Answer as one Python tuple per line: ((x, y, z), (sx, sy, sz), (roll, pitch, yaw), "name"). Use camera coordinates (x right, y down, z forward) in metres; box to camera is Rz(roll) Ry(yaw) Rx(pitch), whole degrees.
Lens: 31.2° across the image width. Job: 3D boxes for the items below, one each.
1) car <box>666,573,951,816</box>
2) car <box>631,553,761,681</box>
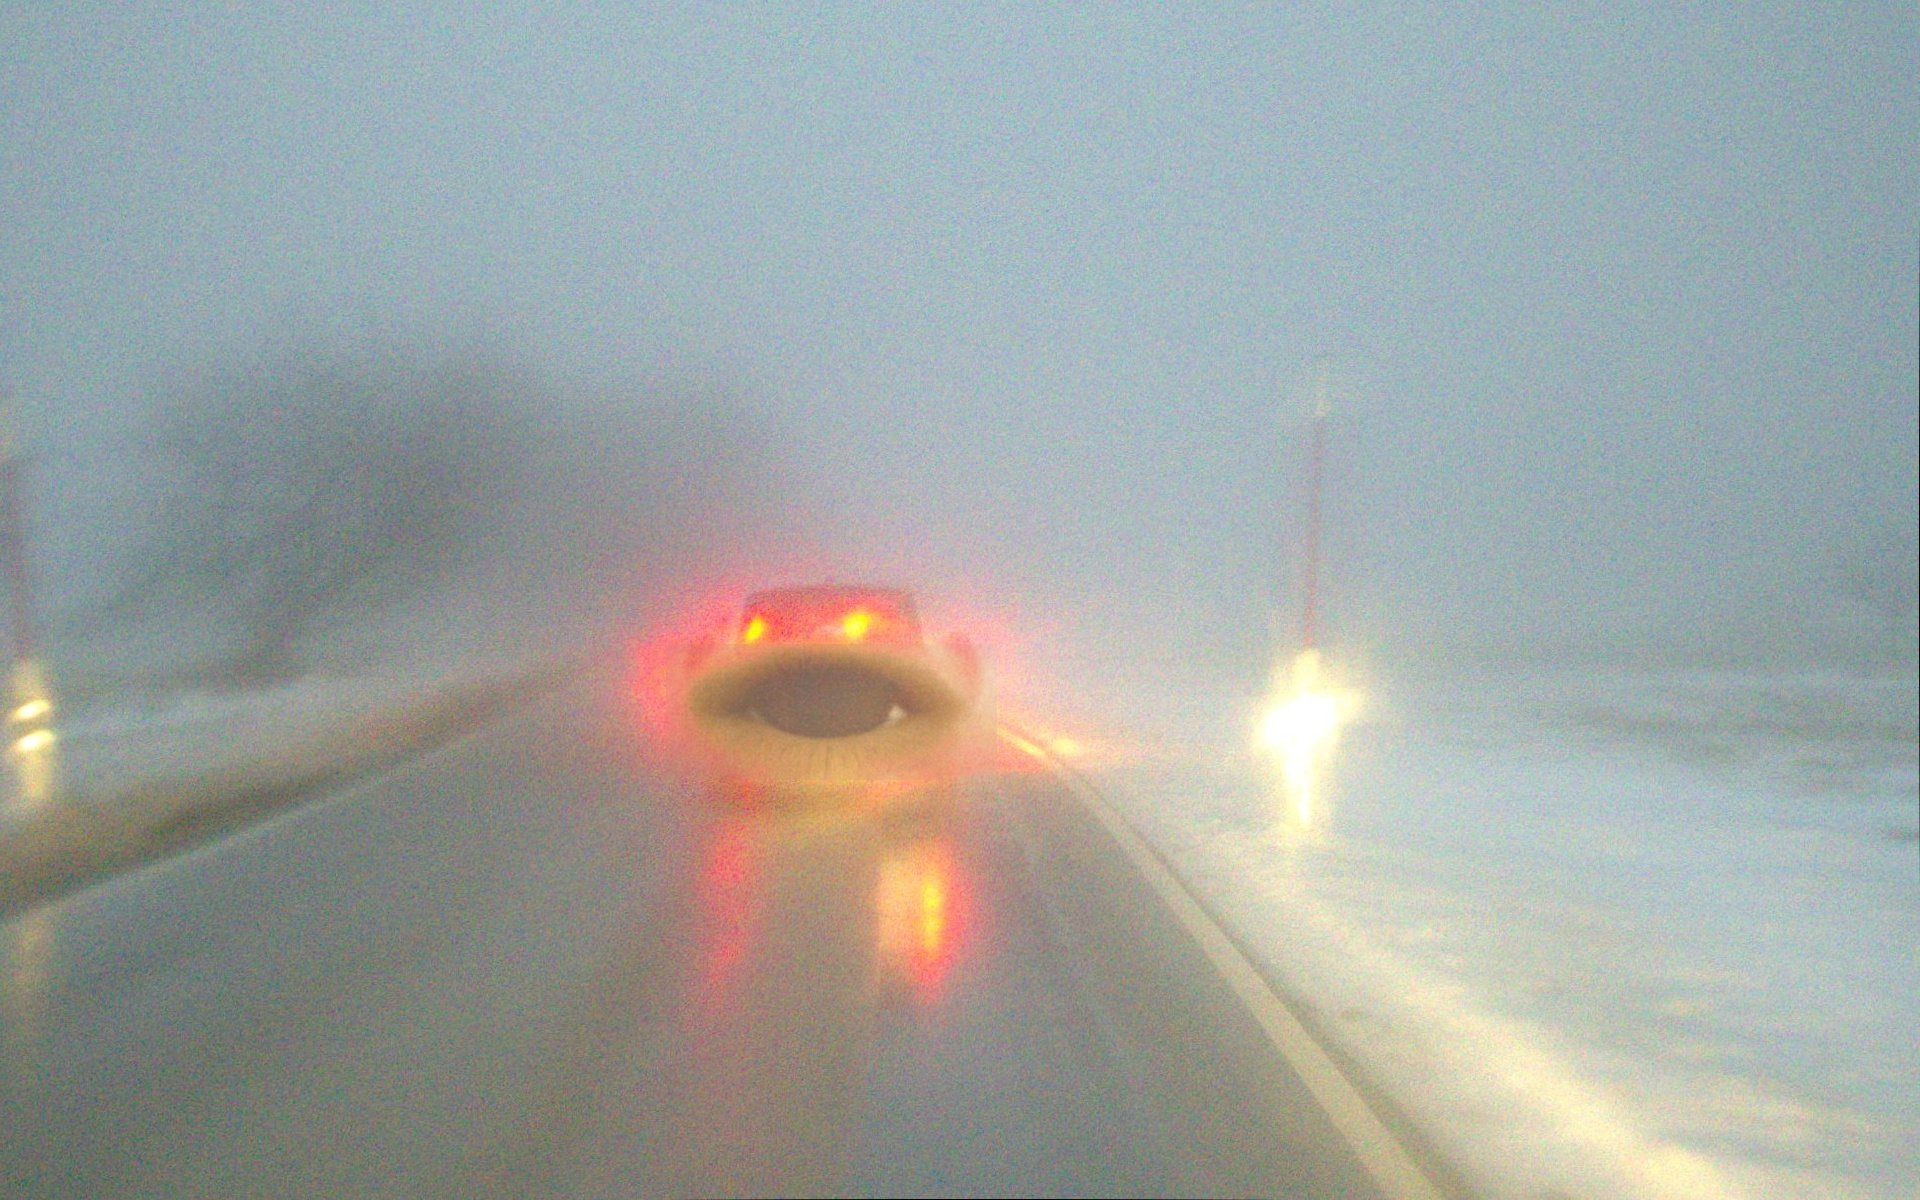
((-1.092, 0.573, 22.971), (1.706, 1.458, 4.001), (1, 0, -5), "car")
((-3.226, 0.211, 42.423), (1.478, 1.503, 3.053), (-1, 0, -3), "car")
